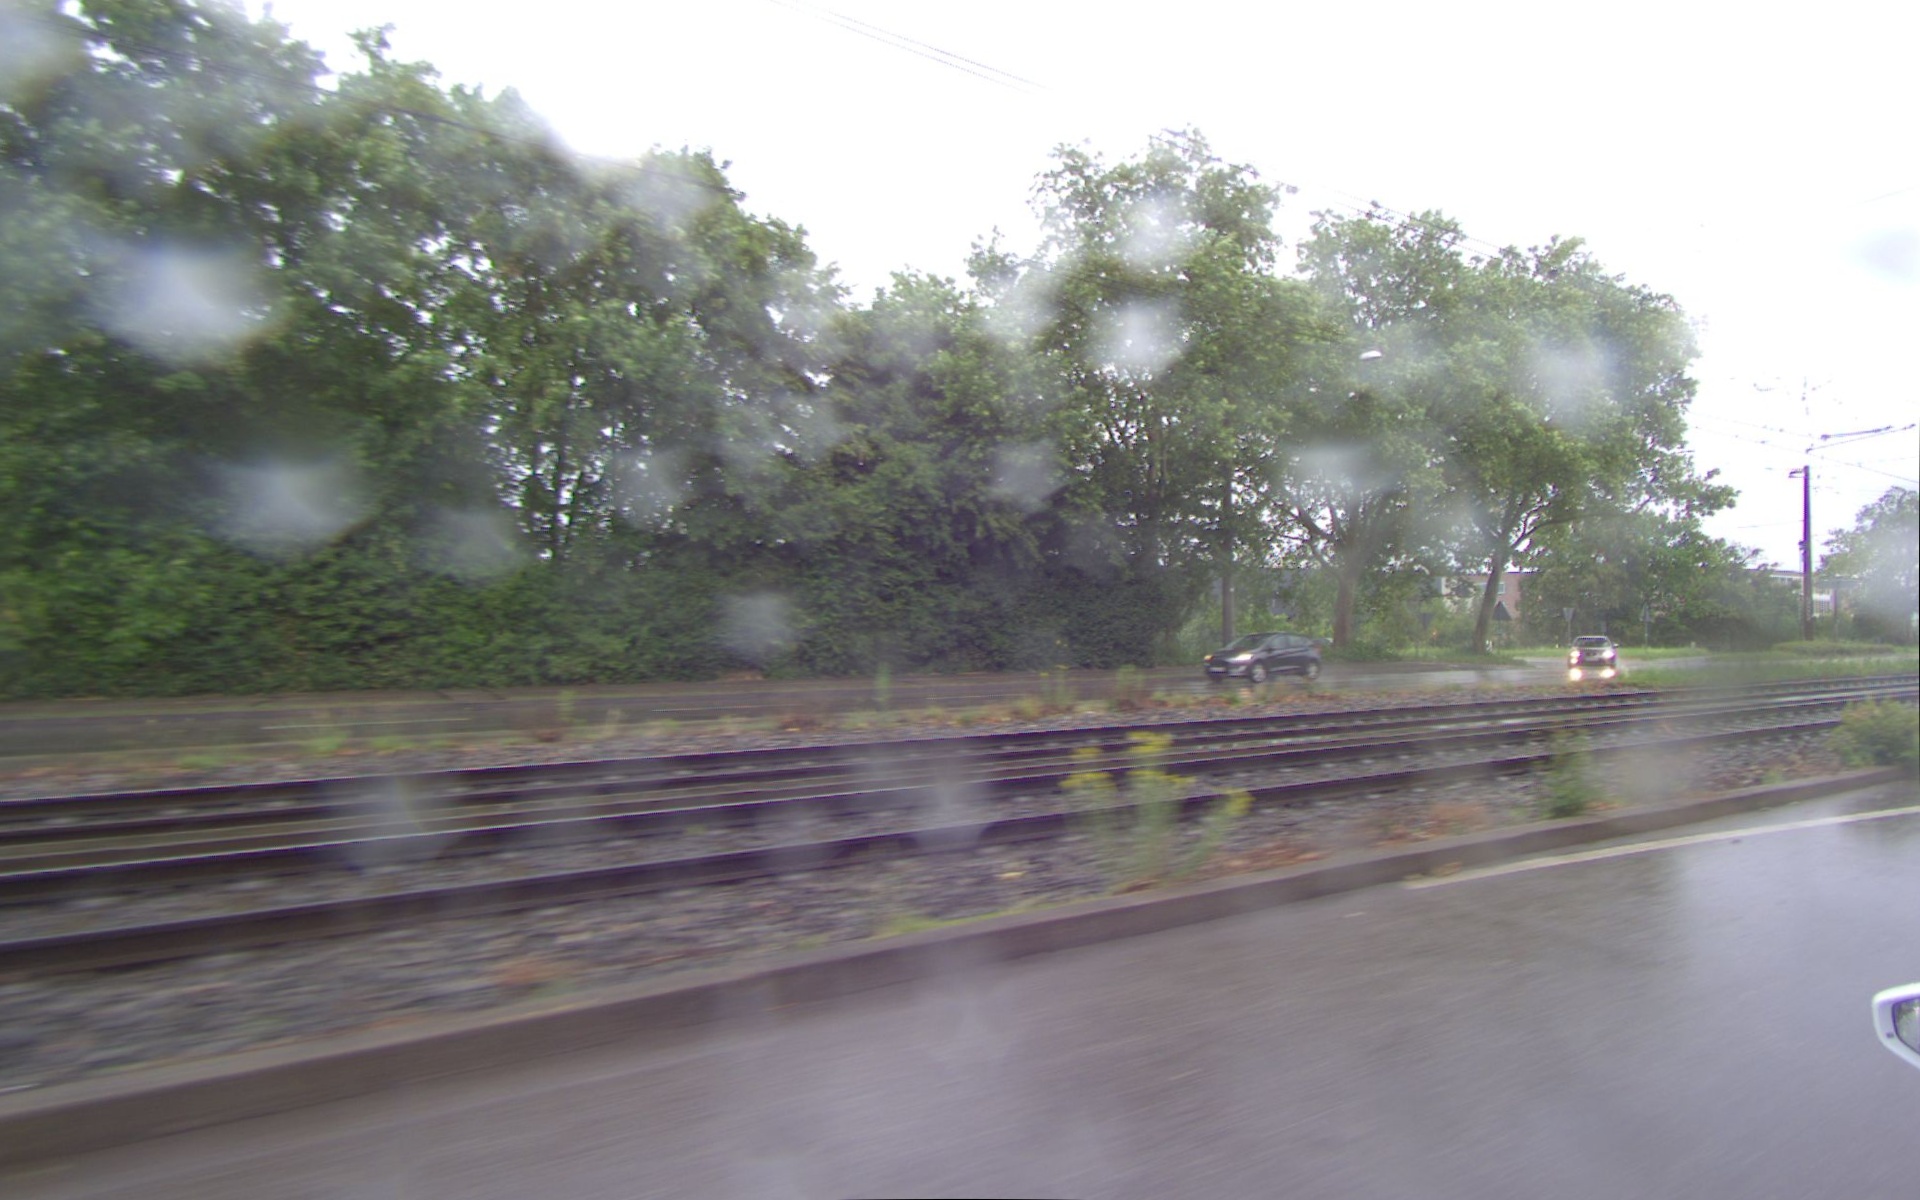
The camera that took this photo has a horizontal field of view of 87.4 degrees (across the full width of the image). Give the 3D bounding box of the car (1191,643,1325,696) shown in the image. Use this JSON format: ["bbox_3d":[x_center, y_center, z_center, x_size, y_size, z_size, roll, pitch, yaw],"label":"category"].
[{"bbox_3d":[8.854,2.004,29.749,3.897,1.424,1.673,1,-1,-33],"label":"car"}]

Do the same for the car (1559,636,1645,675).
[{"bbox_3d":[28.000,2.406,43.789,4.004,1.589,1.641,1,-1,-33],"label":"car"}]
